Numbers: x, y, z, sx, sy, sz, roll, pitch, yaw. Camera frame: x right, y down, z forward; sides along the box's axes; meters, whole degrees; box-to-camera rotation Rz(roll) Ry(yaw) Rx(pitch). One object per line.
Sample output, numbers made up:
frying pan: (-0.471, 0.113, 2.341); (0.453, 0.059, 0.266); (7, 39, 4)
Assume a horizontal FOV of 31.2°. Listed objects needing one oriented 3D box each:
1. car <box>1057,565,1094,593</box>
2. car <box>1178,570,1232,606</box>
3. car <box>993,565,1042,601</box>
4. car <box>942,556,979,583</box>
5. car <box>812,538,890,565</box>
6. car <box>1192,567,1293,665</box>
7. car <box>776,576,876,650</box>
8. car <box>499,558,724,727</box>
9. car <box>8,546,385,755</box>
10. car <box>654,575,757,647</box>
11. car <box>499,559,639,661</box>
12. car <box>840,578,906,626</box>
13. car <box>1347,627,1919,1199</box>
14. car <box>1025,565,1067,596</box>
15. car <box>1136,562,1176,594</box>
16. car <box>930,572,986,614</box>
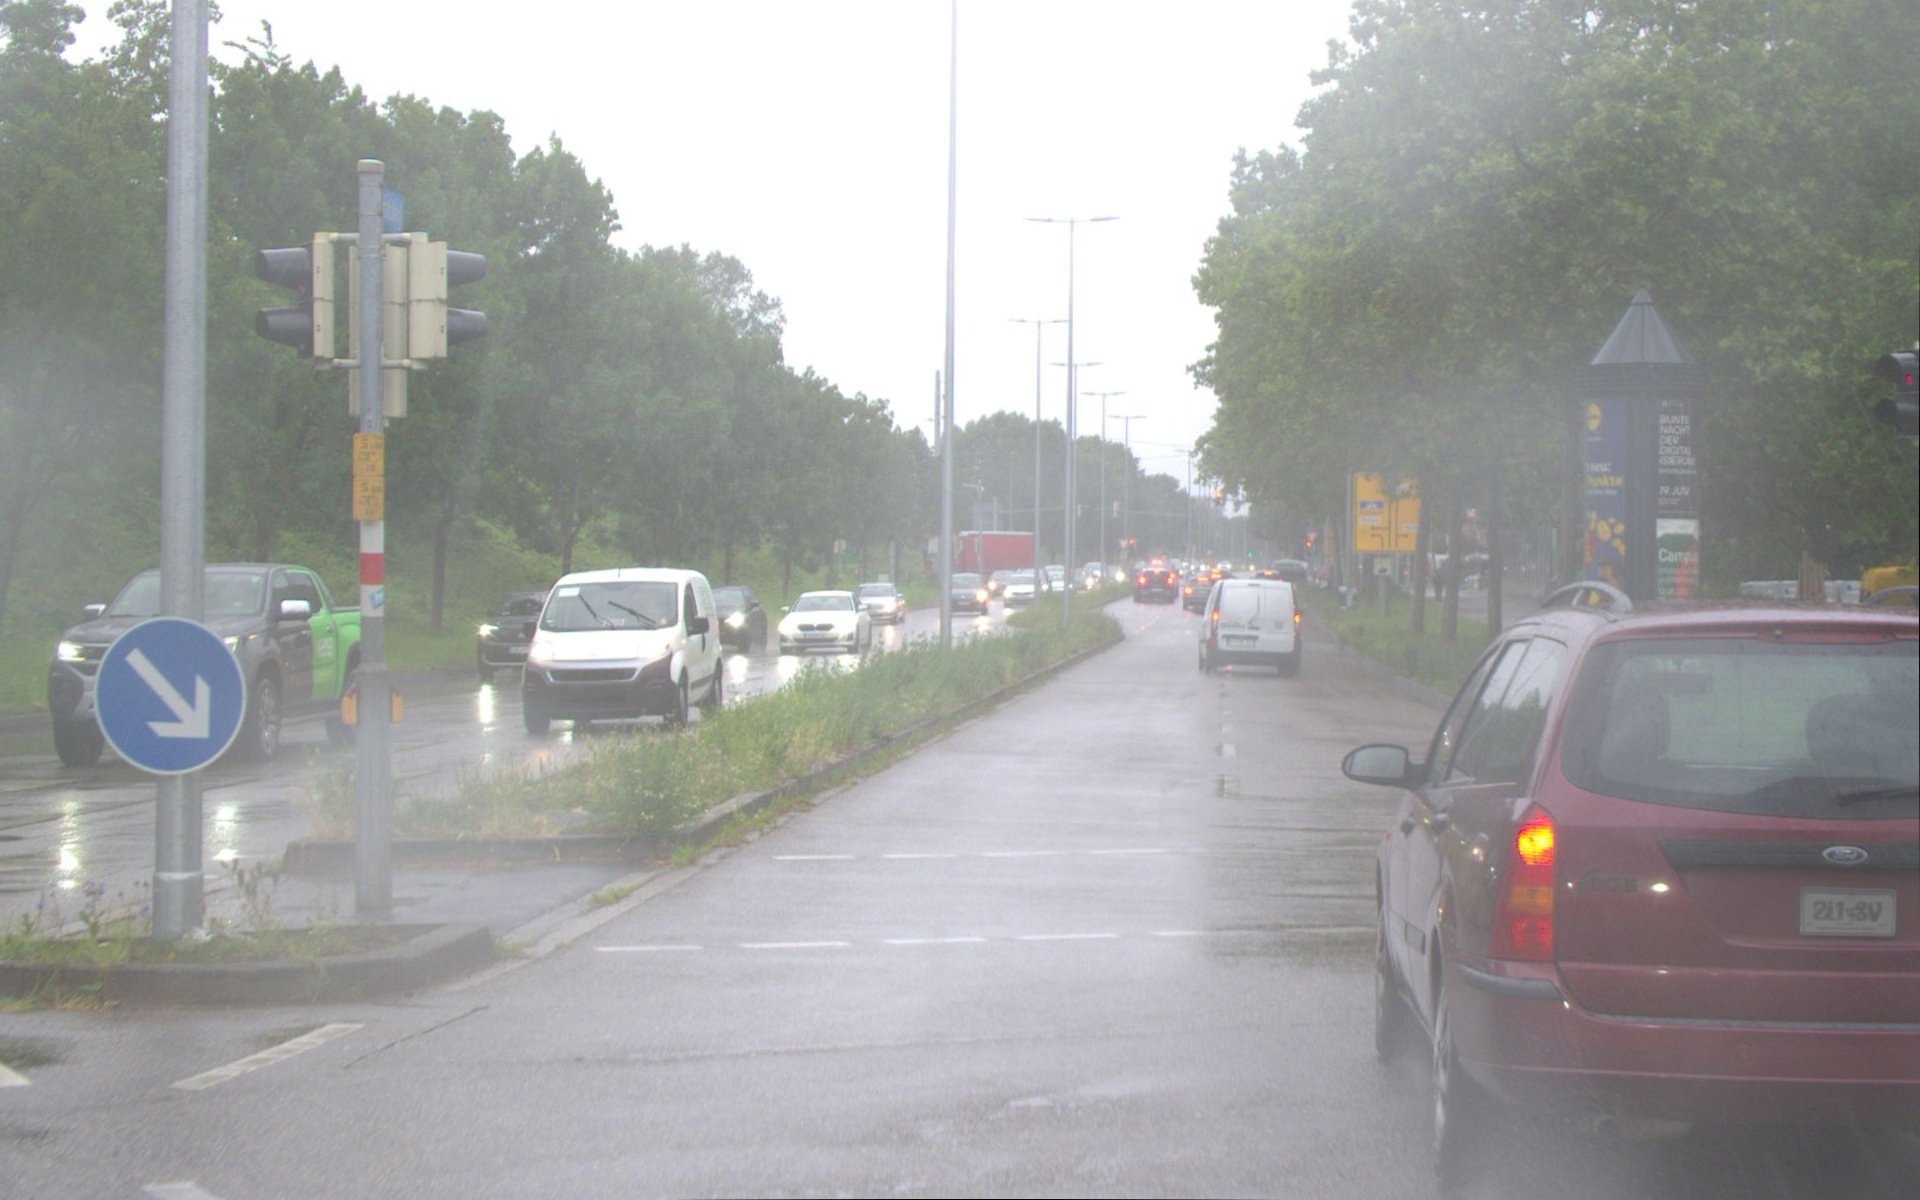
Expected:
car: (6.711, -1.215, 198.932); (1.963, 1.591, 4.283); (0, 1, 4)
car: (10.642, -0.512, 149.259); (2.148, 1.522, 4.191); (1, 0, 7)
car: (2.574, -0.777, 153.567); (1.963, 1.591, 4.283); (0, 1, 4)
car: (0.034, -1.859, 208.517); (1.963, 1.591, 4.283); (0, 1, 3)
car: (-6.544, -2.919, 206.436); (4.269, 1.591, 1.969); (0, 1, -31)
car: (5.306, 0.274, 64.999); (1.736, 1.720, 4.243); (2, 1, 3)
car: (-3.144, 0.285, 81.486); (1.963, 1.696, 4.283); (0, 1, 3)
car: (-3.707, 0.414, 37.256); (1.744, 1.696, 4.283); (-1, 1, 3)
car: (-7.110, 0.403, 32.685); (2.066, 1.813, 5.541); (0, 1, 3)
car: (-6.182, 0.247, 83.910); (1.963, 1.696, 4.283); (0, 1, 3)
car: (-7.070, 0.151, 62.526); (1.744, 1.696, 4.283); (3, 1, 3)
car: (-3.011, 0.052, 119.602); (1.963, 1.591, 4.283); (0, 1, 3)
car: (2.020, 0.880, 9.423); (1.642, 1.460, 3.732); (3, 1, 3)
car: (4.457, -1.024, 177.237); (1.963, 1.591, 4.283); (0, 1, 4)
car: (9.355, -1.054, 163.945); (1.698, 1.522, 3.845); (1, 0, 6)
car: (-0.064, -0.293, 135.468); (1.963, 1.591, 4.283); (0, 1, 3)
